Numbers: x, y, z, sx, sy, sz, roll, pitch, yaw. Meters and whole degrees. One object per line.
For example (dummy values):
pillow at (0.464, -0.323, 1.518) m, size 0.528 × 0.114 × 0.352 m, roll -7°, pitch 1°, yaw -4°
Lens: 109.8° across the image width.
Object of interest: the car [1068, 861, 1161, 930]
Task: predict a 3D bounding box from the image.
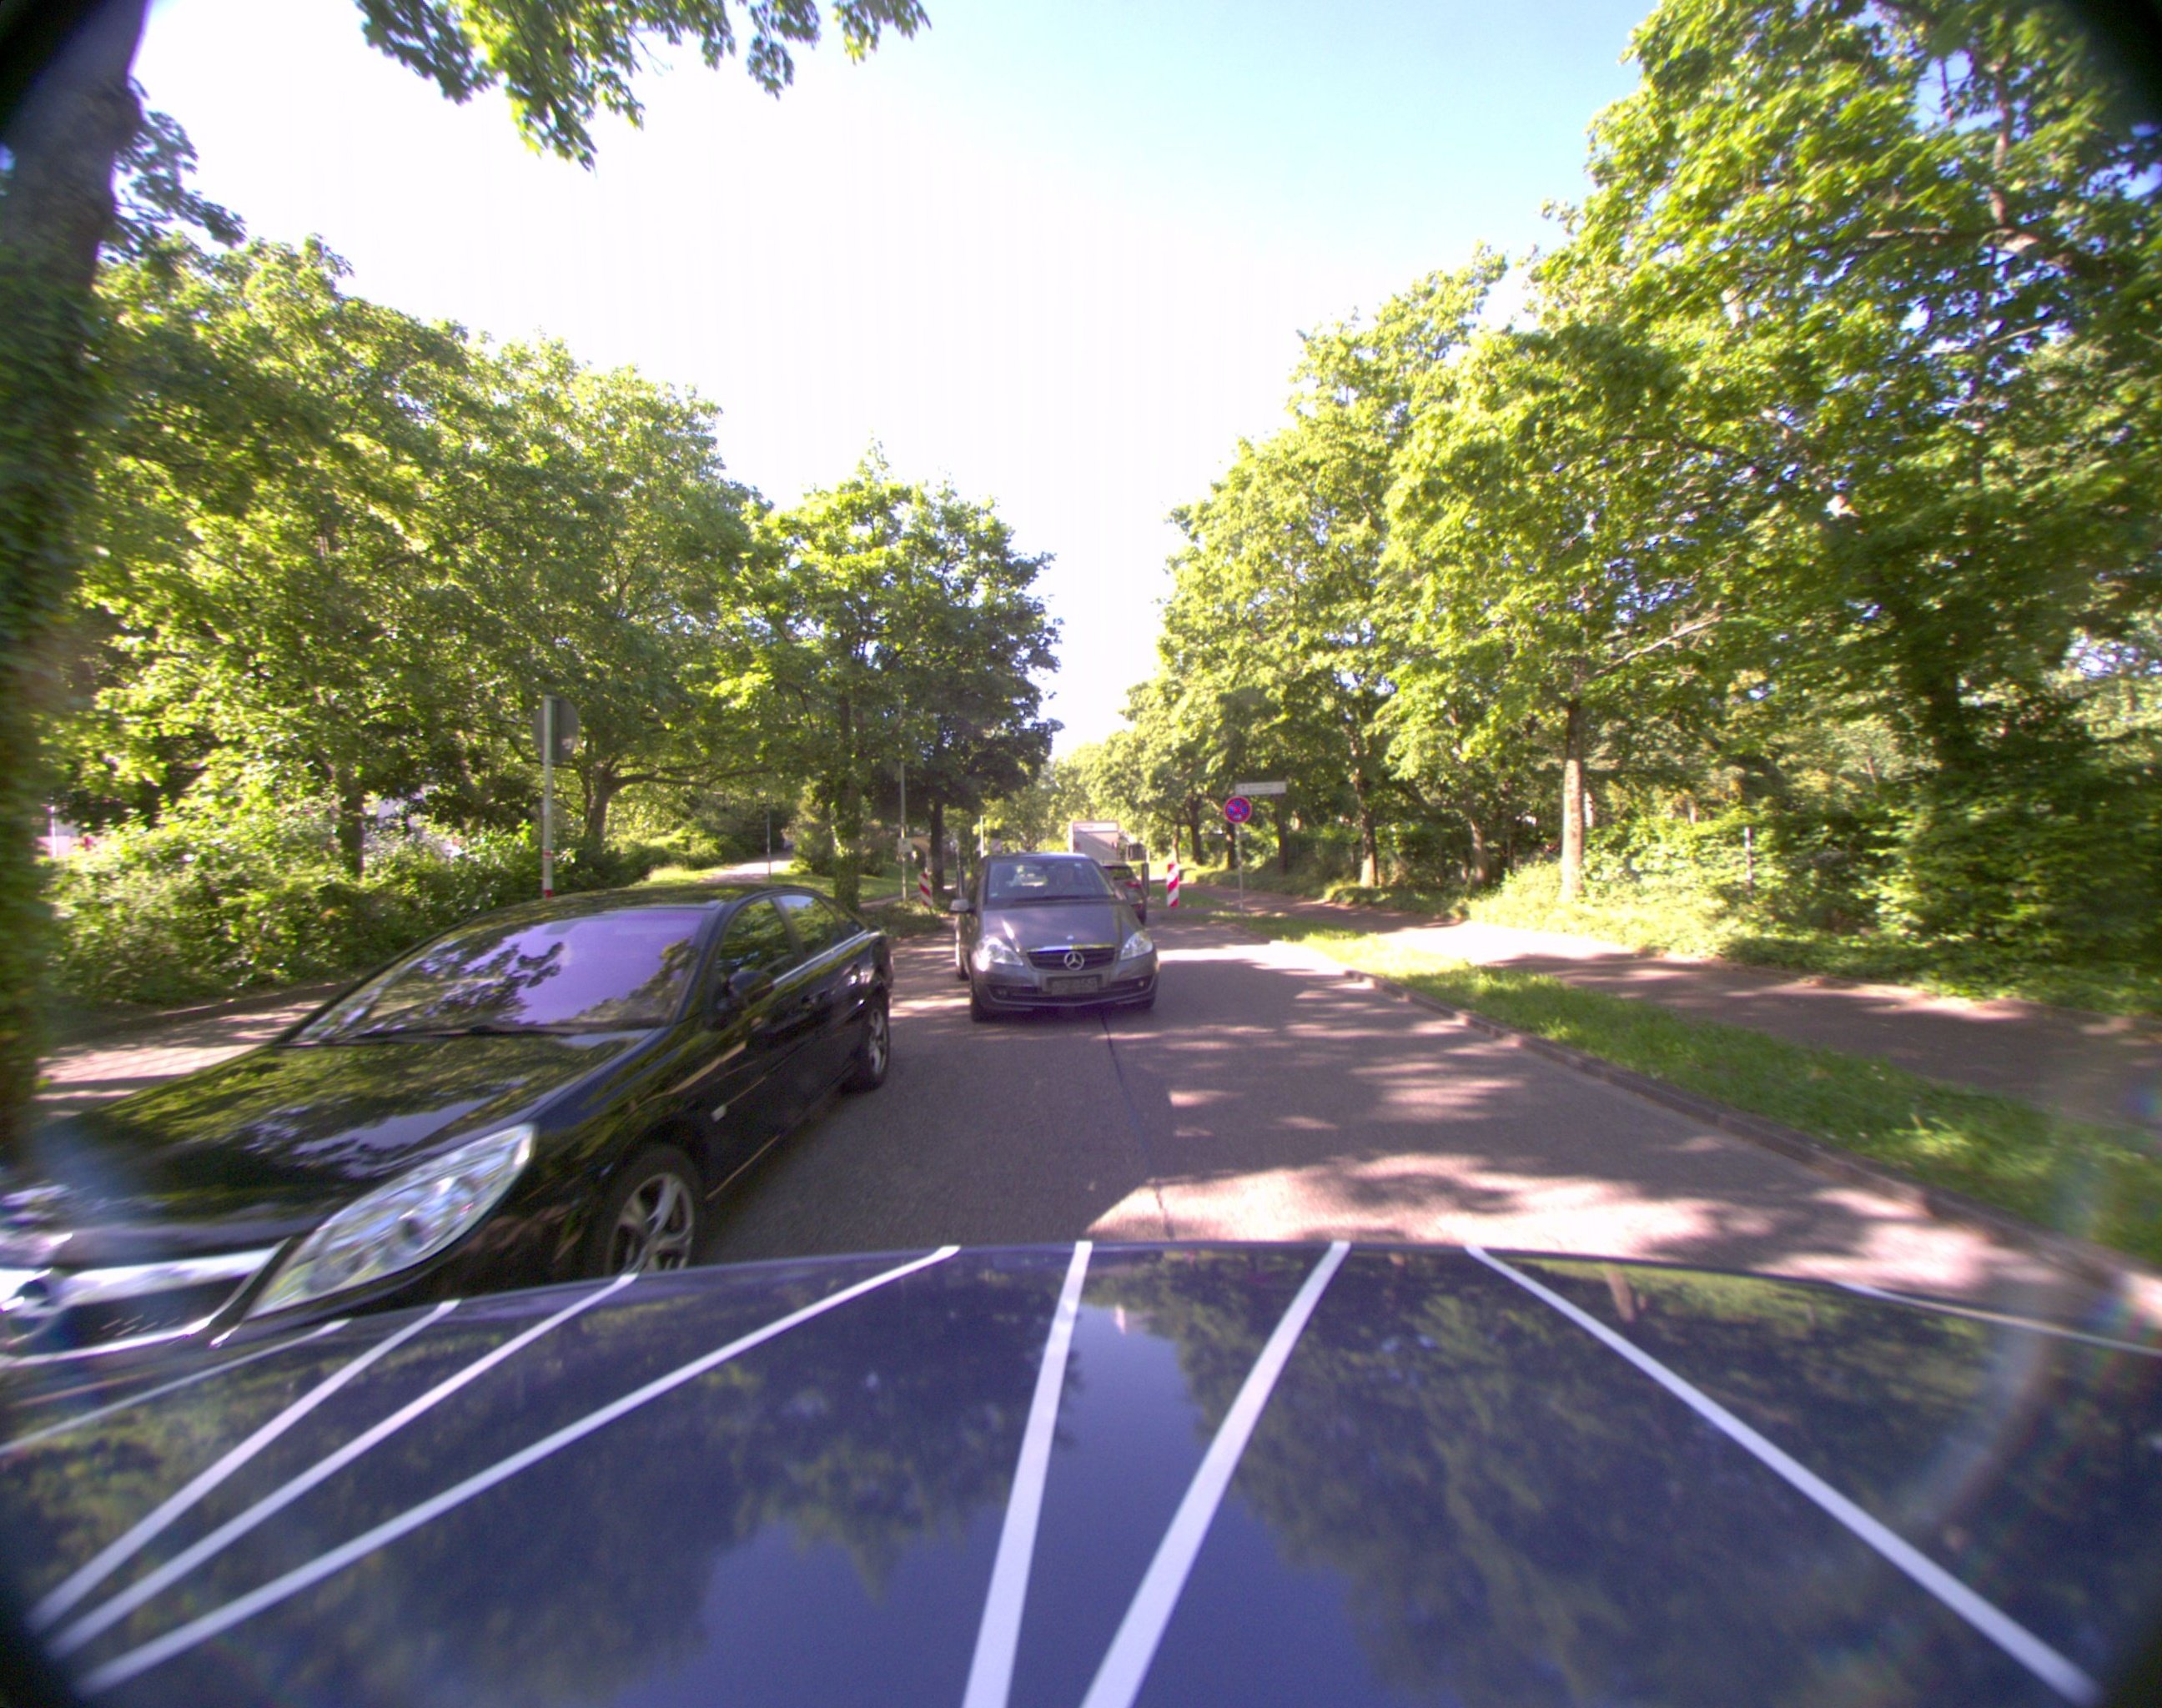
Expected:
car at (0.676, 0.899, 18.310) m, size 1.760 × 1.445 × 4.241 m, roll 0°, pitch 0°, yaw -4°

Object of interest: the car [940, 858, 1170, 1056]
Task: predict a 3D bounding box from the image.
car at (-0.549, 0.868, 8.409) m, size 1.736 × 1.578 × 3.995 m, roll -2°, pitch 0°, yaw -13°

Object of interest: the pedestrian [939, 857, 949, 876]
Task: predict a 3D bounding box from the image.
pedestrian at (-13.403, 1.214, 74.407) m, size 0.793 × 1.821 × 0.671 m, roll -2°, pitch 1°, yaw -2°

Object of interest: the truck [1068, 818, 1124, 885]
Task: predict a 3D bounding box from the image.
truck at (0.756, -0.146, 46.127) m, size 2.742 × 3.620 × 8.098 m, roll -2°, pitch 0°, yaw -3°

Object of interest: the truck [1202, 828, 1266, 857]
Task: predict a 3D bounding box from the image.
truck at (10.790, -0.777, 53.907) m, size 3.998 × 2.002 × 2.203 m, roll -1°, pitch 0°, yaw -4°

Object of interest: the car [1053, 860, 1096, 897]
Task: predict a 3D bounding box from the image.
car at (-0.230, 0.978, 31.698) m, size 1.604 × 1.418 × 3.652 m, roll 0°, pitch 0°, yaw 2°

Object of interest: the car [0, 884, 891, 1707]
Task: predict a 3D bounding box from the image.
car at (-2.237, 1.007, 3.308) m, size 1.753 × 1.472 × 4.029 m, roll -3°, pitch 1°, yaw 0°
